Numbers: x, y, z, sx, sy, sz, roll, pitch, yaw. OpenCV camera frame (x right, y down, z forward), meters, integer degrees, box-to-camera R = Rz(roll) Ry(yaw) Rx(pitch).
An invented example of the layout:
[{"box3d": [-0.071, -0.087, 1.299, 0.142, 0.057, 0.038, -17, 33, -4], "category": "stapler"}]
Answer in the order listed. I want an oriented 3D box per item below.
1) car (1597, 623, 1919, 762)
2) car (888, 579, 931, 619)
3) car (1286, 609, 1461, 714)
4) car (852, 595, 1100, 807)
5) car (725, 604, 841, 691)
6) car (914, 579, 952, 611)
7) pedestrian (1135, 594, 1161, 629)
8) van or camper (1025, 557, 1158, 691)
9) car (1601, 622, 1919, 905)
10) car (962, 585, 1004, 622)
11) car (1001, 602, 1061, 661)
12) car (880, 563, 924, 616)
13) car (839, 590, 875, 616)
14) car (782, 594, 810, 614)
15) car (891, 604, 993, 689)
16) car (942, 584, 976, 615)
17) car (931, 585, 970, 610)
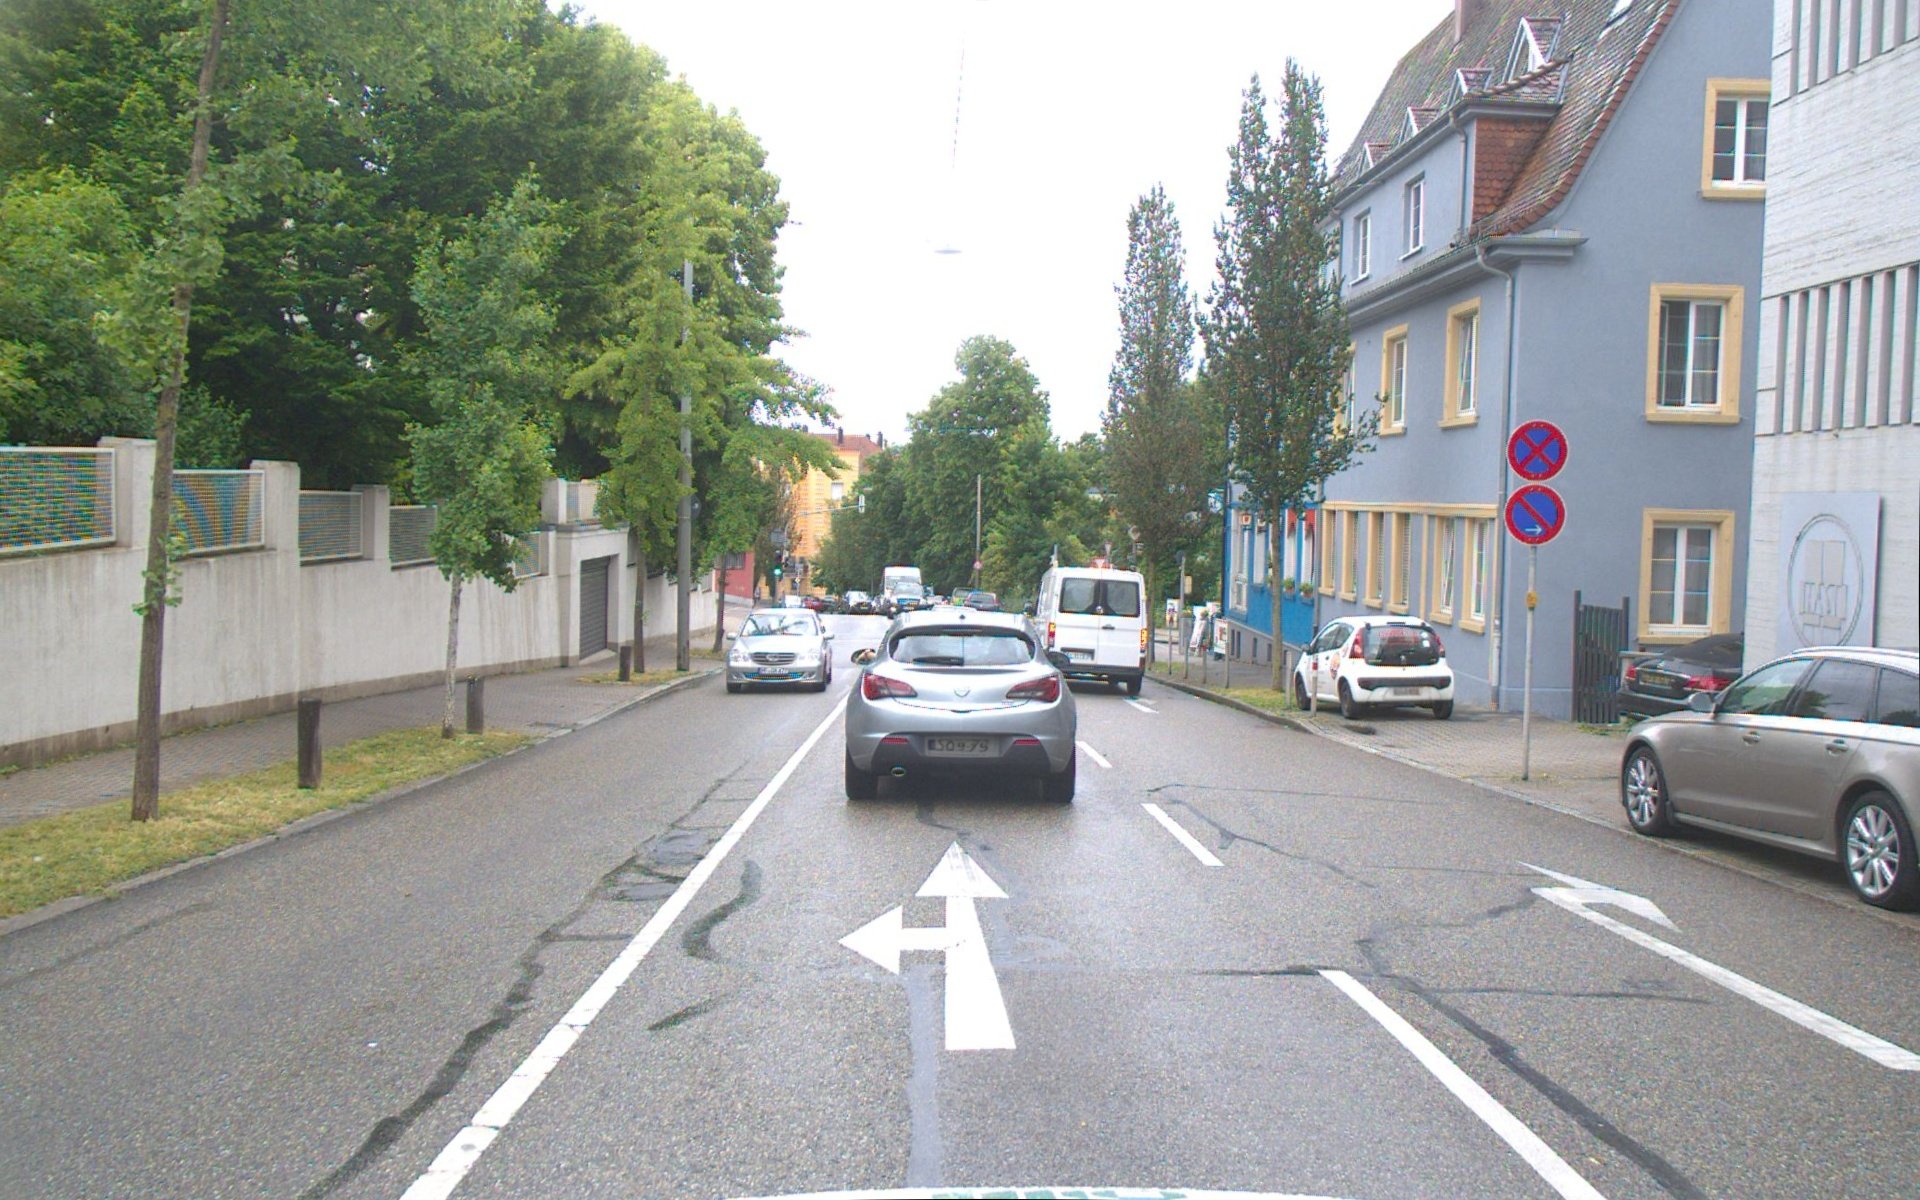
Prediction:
[{"box3d": [10.239, 1.156, 20.425, 4.291, 1.432, 1.798, 4, -1, -21], "category": "car"}, {"box3d": [-2.371, -0.056, 76.159, 1.785, 1.680, 4.343, 2, 1, -4], "category": "car"}, {"box3d": [6.233, 0.884, 25.287, 1.555, 1.436, 3.453, -1, 0, -5], "category": "car"}, {"box3d": [0.085, 0.739, 14.128, 1.778, 1.454, 3.999, 2, 1, -1], "category": "car"}, {"box3d": [-3.128, 0.800, 29.897, 1.684, 1.409, 4.284, -1, 0, -1], "category": "car"}, {"box3d": [-1.728, -0.312, 104.805, 1.749, 1.887, 3.990, 2, -1, -10], "category": "car"}, {"box3d": [8.860, 0.551, 78.020, 0.948, 1.633, 0.764, -1, 0, 41], "category": "pedestrian"}, {"box3d": [2.541, 0.444, 33.324, 2.061, 2.366, 5.416, 3, 0, -1], "category": "van or camper"}, {"box3d": [6.056, 0.936, 10.680, 1.778, 1.485, 4.739, 1, 0, -3], "category": "car"}, {"box3d": [0.973, 0.156, 70.940, 1.588, 1.512, 3.434, 1, -1, -3], "category": "car"}, {"box3d": [1.829, 0.789, 43.212, 1.355, 1.436, 3.456, 0, 0, -1], "category": "car"}, {"box3d": [-3.034, -0.519, 85.664, 2.076, 2.590, 5.535, 1, 0, -4], "category": "car"}, {"box3d": [-6.915, 0.203, 110.749, 1.841, 1.602, 4.573, 1, 0, -11], "category": "car"}, {"box3d": [-13.261, 0.308, 133.505, 1.743, 1.523, 4.249, 2, -1, -12], "category": "car"}, {"box3d": [-0.340, 0.801, 30.168, 1.740, 1.455, 3.785, 0, 0, -1], "category": "car"}, {"box3d": [-0.071, 0.000, 84.072, 1.588, 1.512, 3.434, 1, -1, -3], "category": "car"}, {"box3d": [-0.671, -0.140, 111.244, 1.783, 1.521, 3.988, -4, 0, -12], "category": "car"}]
